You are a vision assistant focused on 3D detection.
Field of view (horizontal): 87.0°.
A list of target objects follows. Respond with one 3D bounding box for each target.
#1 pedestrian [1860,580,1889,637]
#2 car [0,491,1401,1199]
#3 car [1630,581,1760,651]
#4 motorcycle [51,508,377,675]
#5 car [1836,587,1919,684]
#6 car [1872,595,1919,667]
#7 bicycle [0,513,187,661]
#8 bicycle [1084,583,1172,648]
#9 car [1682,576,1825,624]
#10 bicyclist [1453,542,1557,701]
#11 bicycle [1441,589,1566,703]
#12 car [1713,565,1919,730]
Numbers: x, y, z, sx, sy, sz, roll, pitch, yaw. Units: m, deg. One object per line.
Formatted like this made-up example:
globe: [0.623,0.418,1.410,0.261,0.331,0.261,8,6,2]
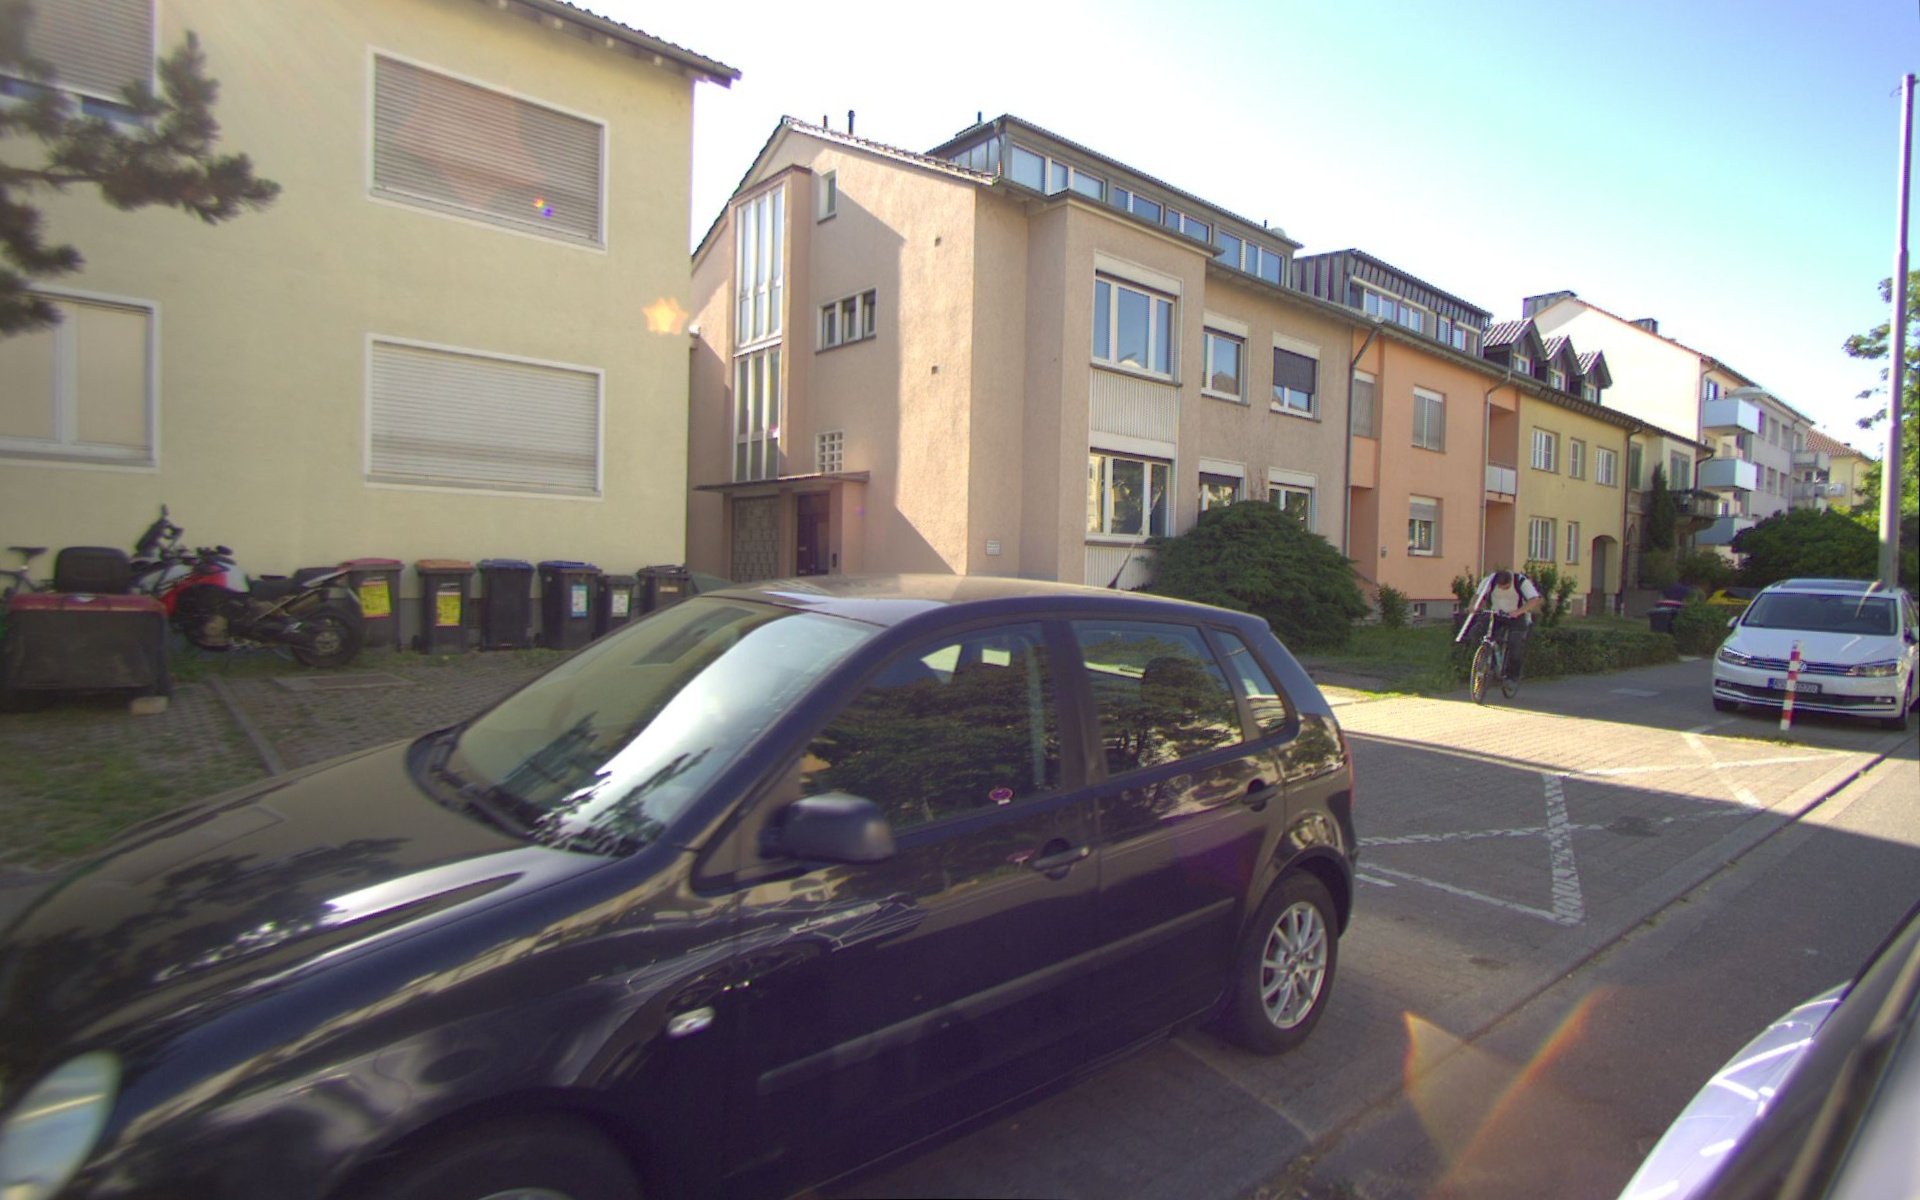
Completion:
pedestrian: [27.895,0.250,30.871,0.485,1.698,0.539,0,2,-40]
car: [-0.471,0.591,2.815,3.583,1.517,1.624,0,3,-39]
car: [16.787,0.327,23.062,3.653,1.372,1.535,0,4,-41]
motorcycle: [-6.873,-0.081,9.457,2.383,1.392,0.637,0,2,-41]
car: [16.091,0.558,17.061,3.654,1.467,1.534,0,2,-42]
car: [19.903,0.614,20.586,3.653,1.372,1.535,0,2,-41]
bicycle: [-8.603,-0.129,9.270,2.383,1.319,0.599,0,2,-41]
bicycle: [2.871,0.240,17.191,1.713,1.004,0.456,-2,5,-41]
car: [30.761,-0.030,39.316,1.799,1.458,3.998,0,5,-40]
bicyclist: [6.579,0.230,12.208,0.998,1.815,0.725,0,3,-41]
bicycle: [6.645,0.520,12.331,1.790,1.262,0.699,0,3,-41]
car: [11.117,0.476,12.766,4.267,1.679,1.772,0,3,-42]
